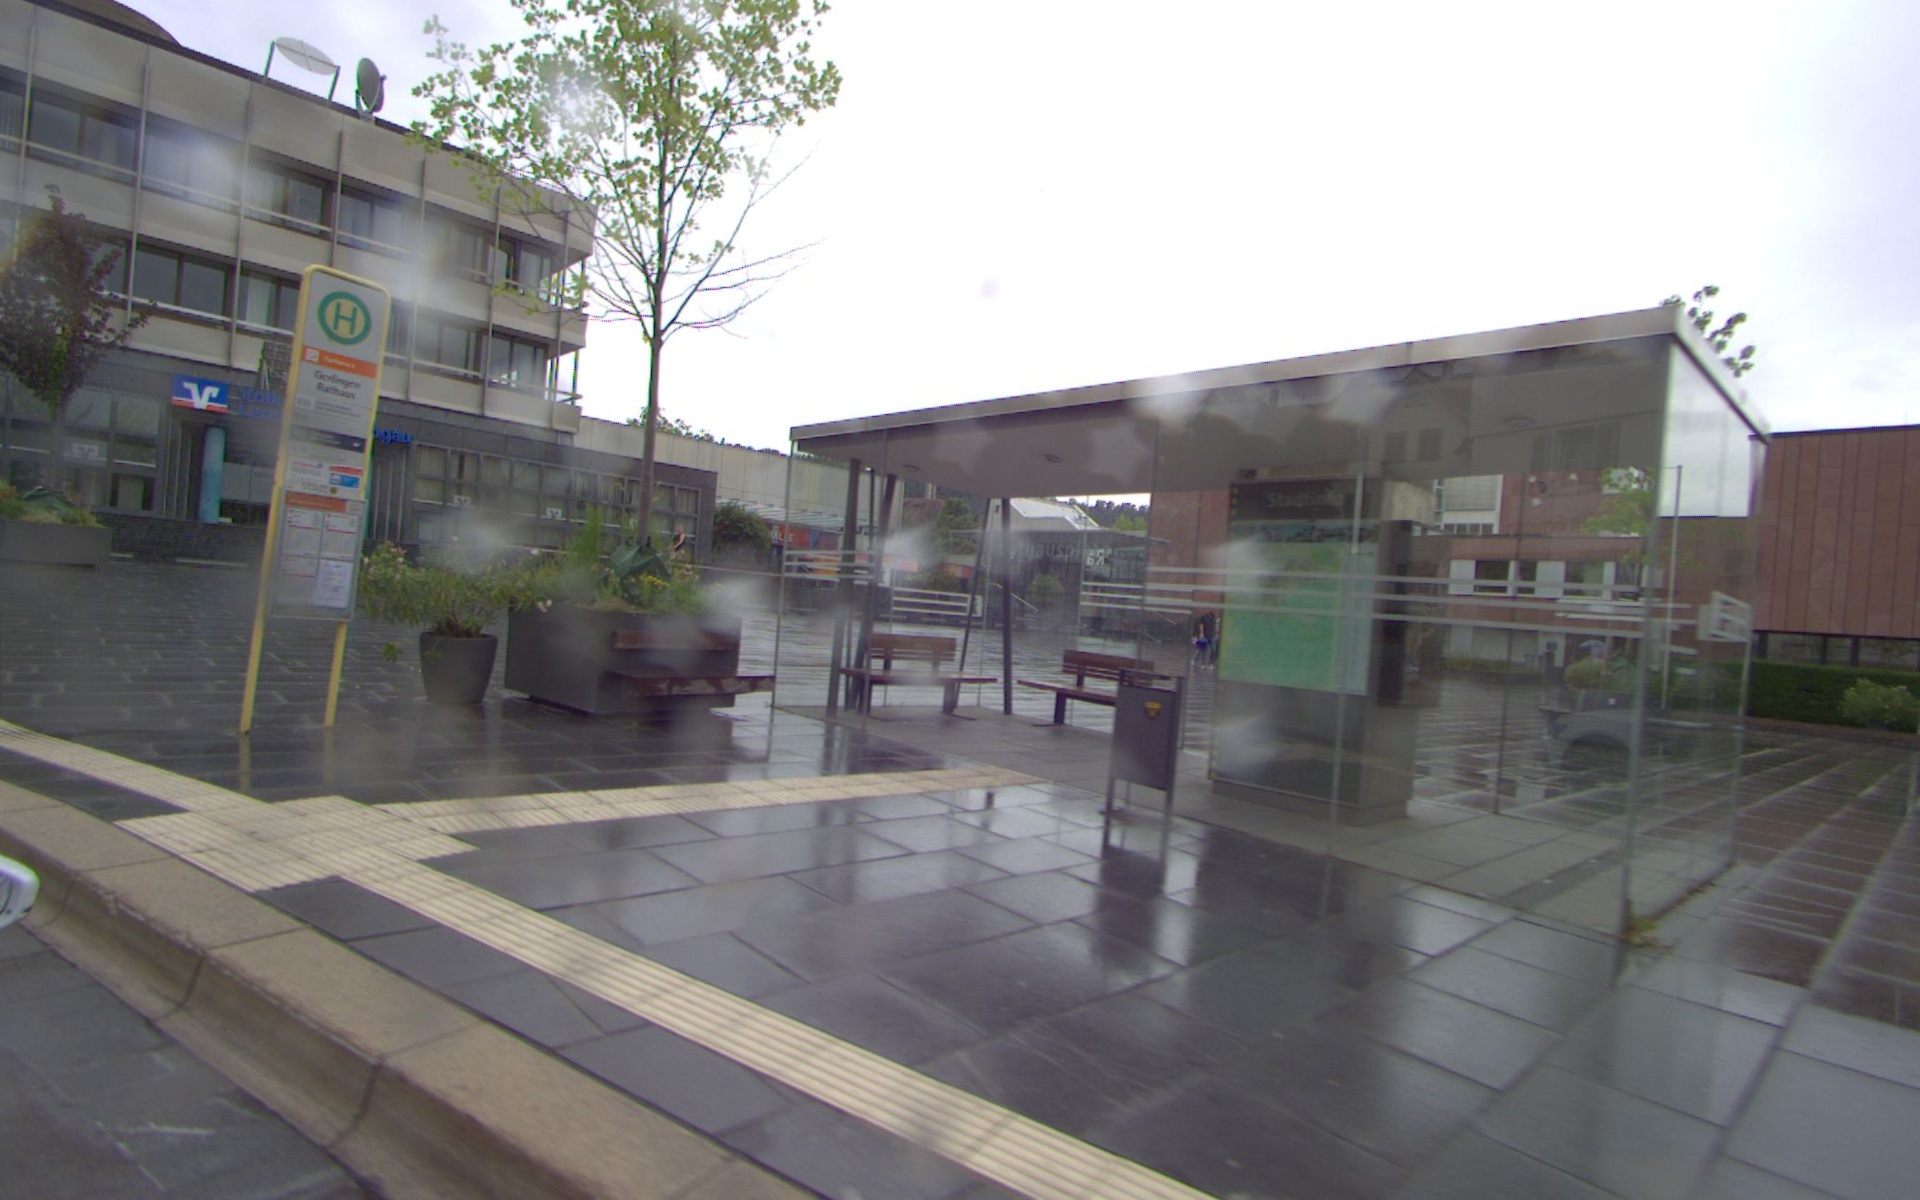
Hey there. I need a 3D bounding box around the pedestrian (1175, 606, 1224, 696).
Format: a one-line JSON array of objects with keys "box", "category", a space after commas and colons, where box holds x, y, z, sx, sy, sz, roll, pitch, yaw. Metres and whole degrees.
[{"box": [6.788, 1.448, 28.503, 0.936, 2.471, 0.768, 3, 2, -41], "category": "pedestrian"}]

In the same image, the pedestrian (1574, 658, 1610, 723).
[{"box": [23.672, 3.380, 37.679, 0.789, 2.338, 0.898, 6, 2, 43], "category": "pedestrian"}]

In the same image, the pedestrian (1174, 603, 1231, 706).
[{"box": [6.633, 1.498, 27.549, 1.047, 2.719, 0.823, 3, 2, -39], "category": "pedestrian"}]

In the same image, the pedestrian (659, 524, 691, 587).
[{"box": [-10.165, -1.594, 35.855, 0.754, 2.176, 0.652, 3, 2, -39], "category": "pedestrian"}]

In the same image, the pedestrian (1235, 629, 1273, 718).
[{"box": [8.400, 2.094, 28.751, 0.731, 2.471, 0.562, 3, 2, -44], "category": "pedestrian"}]
